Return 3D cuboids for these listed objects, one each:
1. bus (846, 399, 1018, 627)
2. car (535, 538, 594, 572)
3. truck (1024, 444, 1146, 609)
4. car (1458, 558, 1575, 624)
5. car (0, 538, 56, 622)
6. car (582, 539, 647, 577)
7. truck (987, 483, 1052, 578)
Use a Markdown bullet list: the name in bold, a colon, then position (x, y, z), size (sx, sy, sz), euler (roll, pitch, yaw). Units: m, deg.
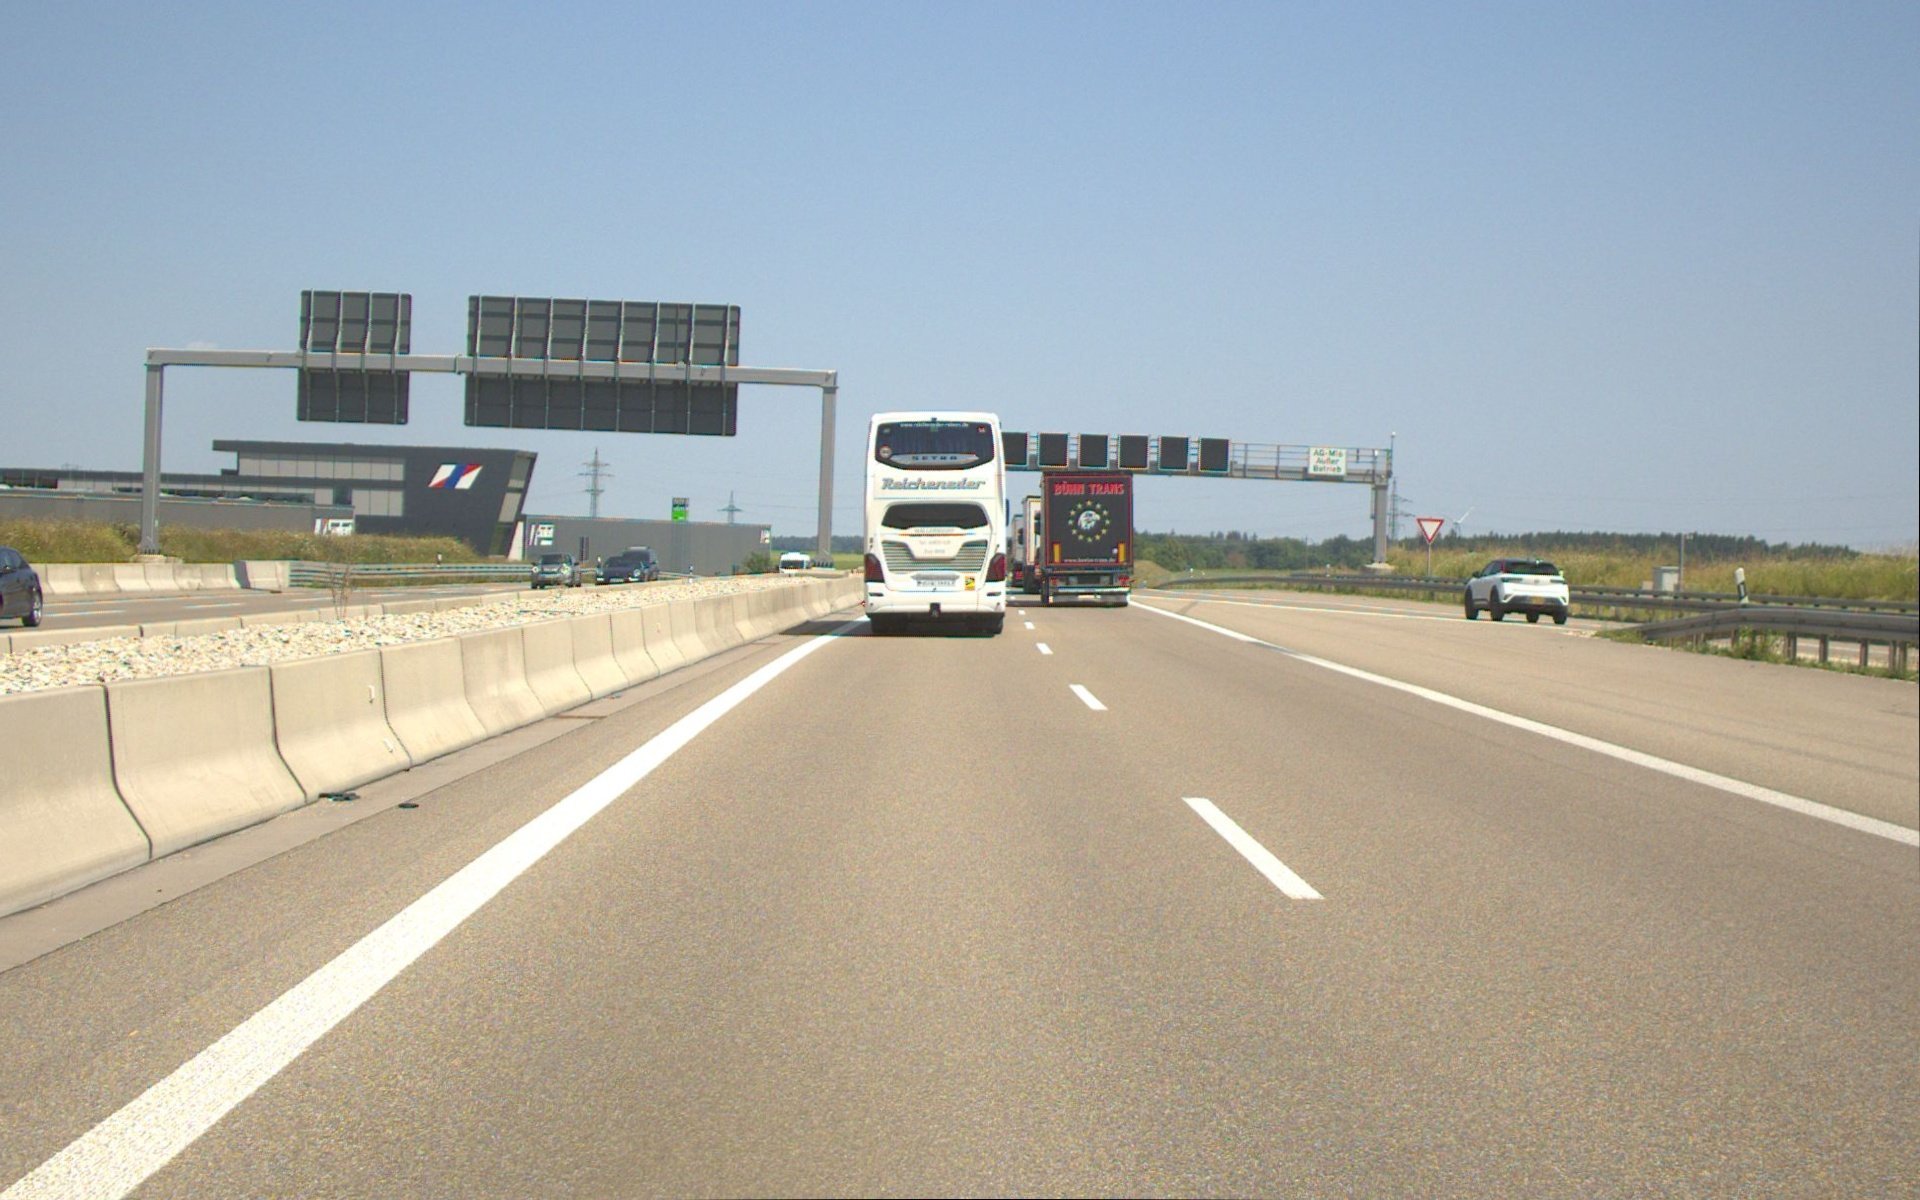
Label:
- **bus**: position (-0.640, -1.659, 65.040), size (2.980, 3.961, 9.106), euler (1, 2, -2)
- **car**: position (-15.967, -1.825, 139.013), size (1.891, 1.324, 3.986), euler (1, 1, 0)
- **truck**: position (3.803, -2.078, 105.222), size (3.380, 4.449, 13.565), euler (1, -1, 2)
- **car**: position (13.514, -0.248, 83.696), size (1.890, 1.524, 4.263), euler (1, 1, -4)
- **car**: position (-16.881, -0.356, 58.051), size (1.993, 1.374, 4.364), euler (1, 1, 1)
- **car**: position (-12.953, -1.579, 129.133), size (1.844, 1.377, 4.752), euler (1, 1, 2)
- **truck**: position (2.400, -2.839, 140.622), size (2.437, 3.776, 6.494), euler (1, 1, -1)
